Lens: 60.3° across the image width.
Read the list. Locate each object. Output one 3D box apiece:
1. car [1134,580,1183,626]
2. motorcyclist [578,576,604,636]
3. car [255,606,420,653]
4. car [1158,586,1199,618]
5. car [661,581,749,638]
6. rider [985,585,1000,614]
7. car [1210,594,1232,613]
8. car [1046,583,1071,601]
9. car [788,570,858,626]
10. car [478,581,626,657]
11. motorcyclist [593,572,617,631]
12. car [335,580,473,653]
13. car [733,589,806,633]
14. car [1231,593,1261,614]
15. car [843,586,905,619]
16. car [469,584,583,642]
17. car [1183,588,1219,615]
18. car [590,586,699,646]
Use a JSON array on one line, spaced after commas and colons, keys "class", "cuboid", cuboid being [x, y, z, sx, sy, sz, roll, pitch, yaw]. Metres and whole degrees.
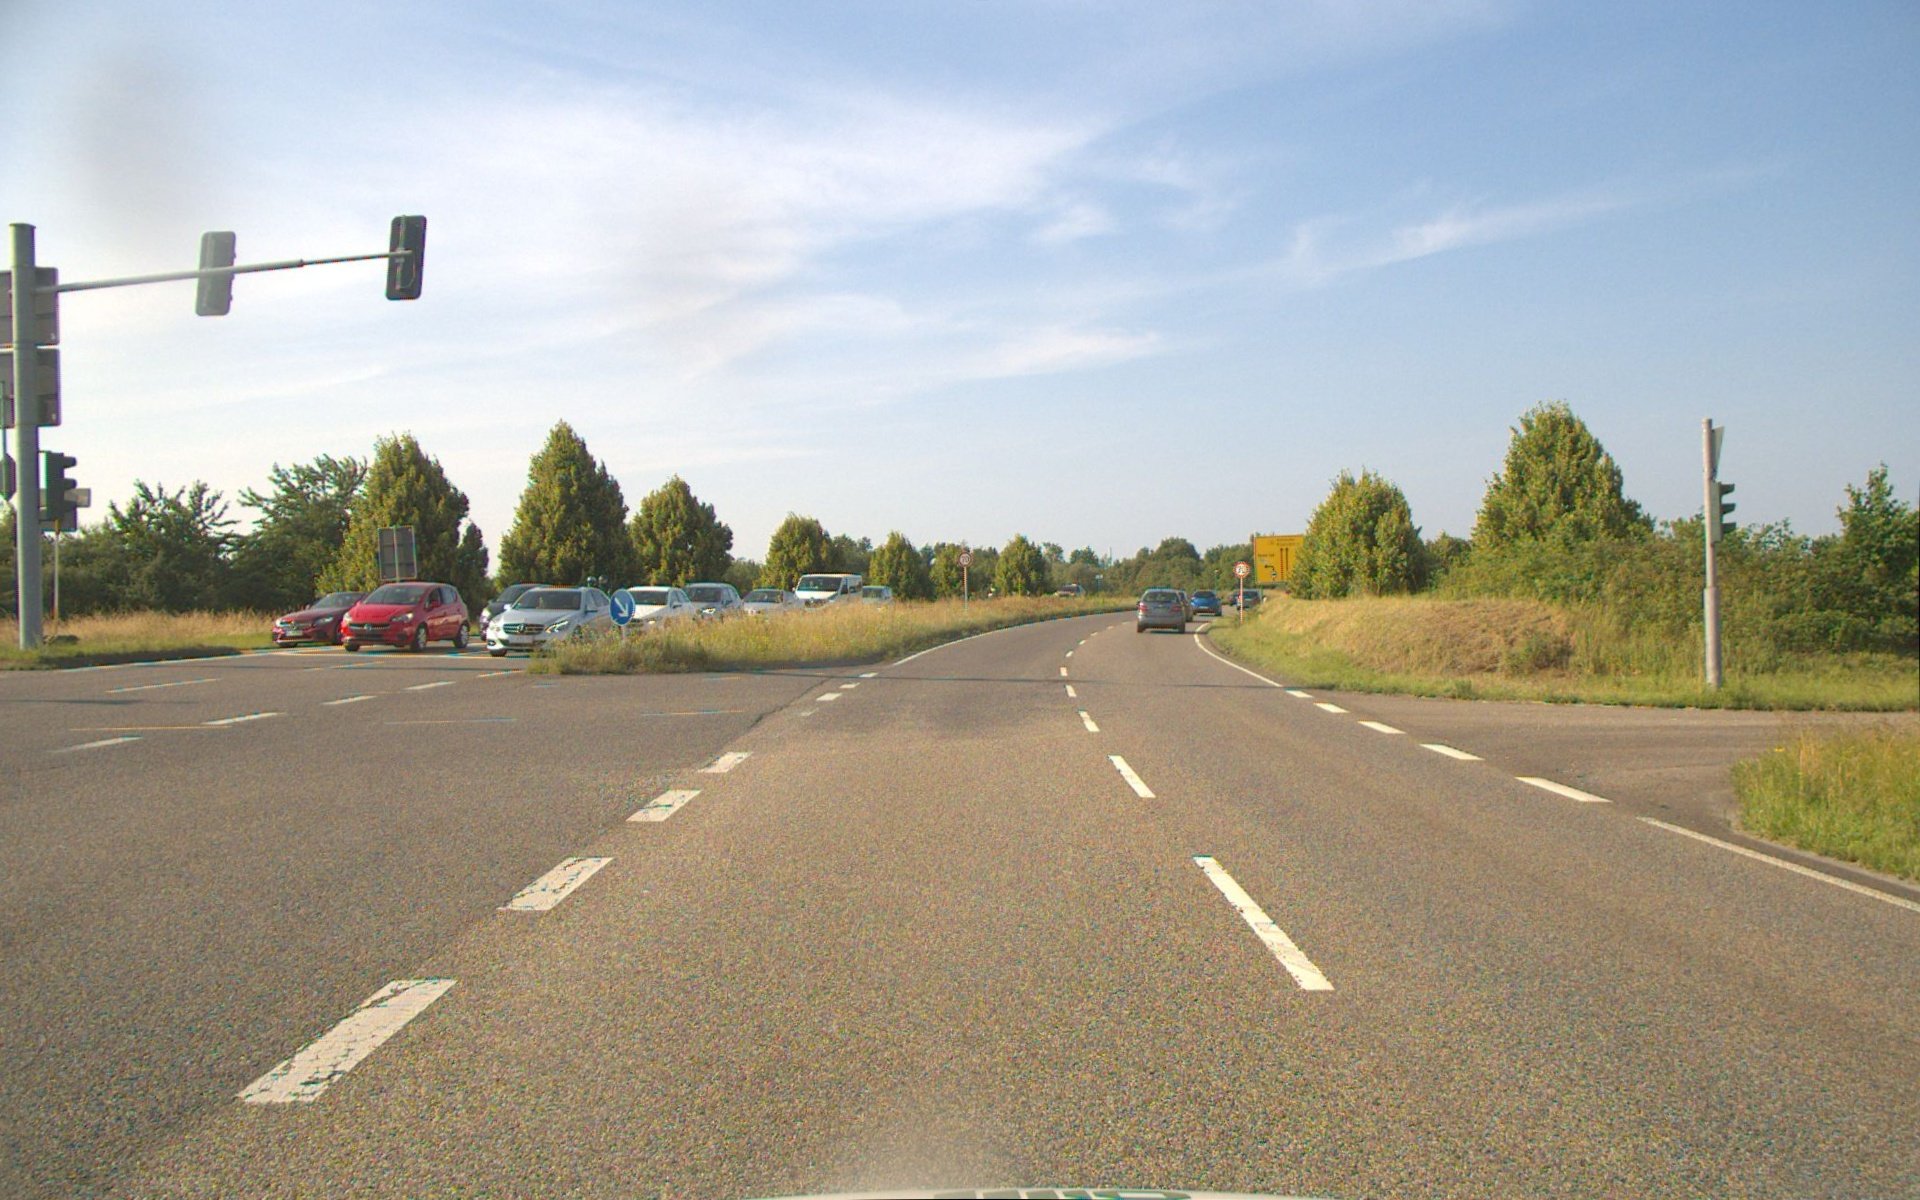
[{"class": "car", "cuboid": [7.445, 0.150, 61.928, 1.746, 1.633, 4.199, 0, -1, 8]}, {"class": "motorcyclist", "cuboid": [-10.923, 0.178, 49.002, 0.649, 1.778, 0.605, 0, 0, -4]}, {"class": "car", "cuboid": [-16.180, 0.733, 43.284, 1.951, 1.121, 4.481, 0, 0, 12]}, {"class": "car", "cuboid": [11.322, 0.090, 85.404, 1.771, 1.593, 4.535, 0, 0, 12]}, {"class": "car", "cuboid": [-7.547, 0.266, 49.296, 1.748, 1.596, 4.053, -1, 0, 3]}, {"class": "rider", "cuboid": [2.316, -0.044, 117.275, 0.849, 2.049, 0.772, 0, 0, 15]}, {"class": "car", "cuboid": [21.694, 0.305, 137.271, 1.735, 1.518, 3.988, 0, 0, 10]}, {"class": "car", "cuboid": [8.072, -0.659, 134.705, 1.375, 1.426, 3.425, -1, 0, 15]}, {"class": "car", "cuboid": [-5.342, -0.083, 64.944, 1.884, 2.114, 4.246, -1, 0, 7]}, {"class": "car", "cuboid": [-8.625, 0.372, 35.363, 1.748, 1.514, 4.653, -1, 0, 4]}, {"class": "motorcyclist", "cuboid": [-11.178, 0.056, 52.131, 0.649, 1.849, 0.605, 0, 0, -4]}, {"class": "car", "cuboid": [-12.277, 0.337, 36.731, 1.685, 1.514, 3.805, -1, 0, 1]}, {"class": "car", "cuboid": [-6.351, 0.354, 55.562, 1.748, 1.410, 4.053, -1, 0, 3]}, {"class": "car", "cuboid": [20.204, 0.243, 116.850, 1.874, 1.440, 3.798, 0, -1, 12]}, {"class": "car", "cuboid": [-3.792, 0.112, 73.668, 1.748, 1.410, 4.055, -1, 0, 13]}, {"class": "car", "cuboid": [-11.518, 0.321, 44.172, 1.748, 1.458, 4.053, -1, 0, 3]}, {"class": "car", "cuboid": [13.988, 0.074, 96.014, 1.735, 1.518, 3.988, 0, 0, 13]}, {"class": "car", "cuboid": [-8.146, 0.390, 43.045, 1.748, 1.458, 4.311, -1, 0, 4]}]
